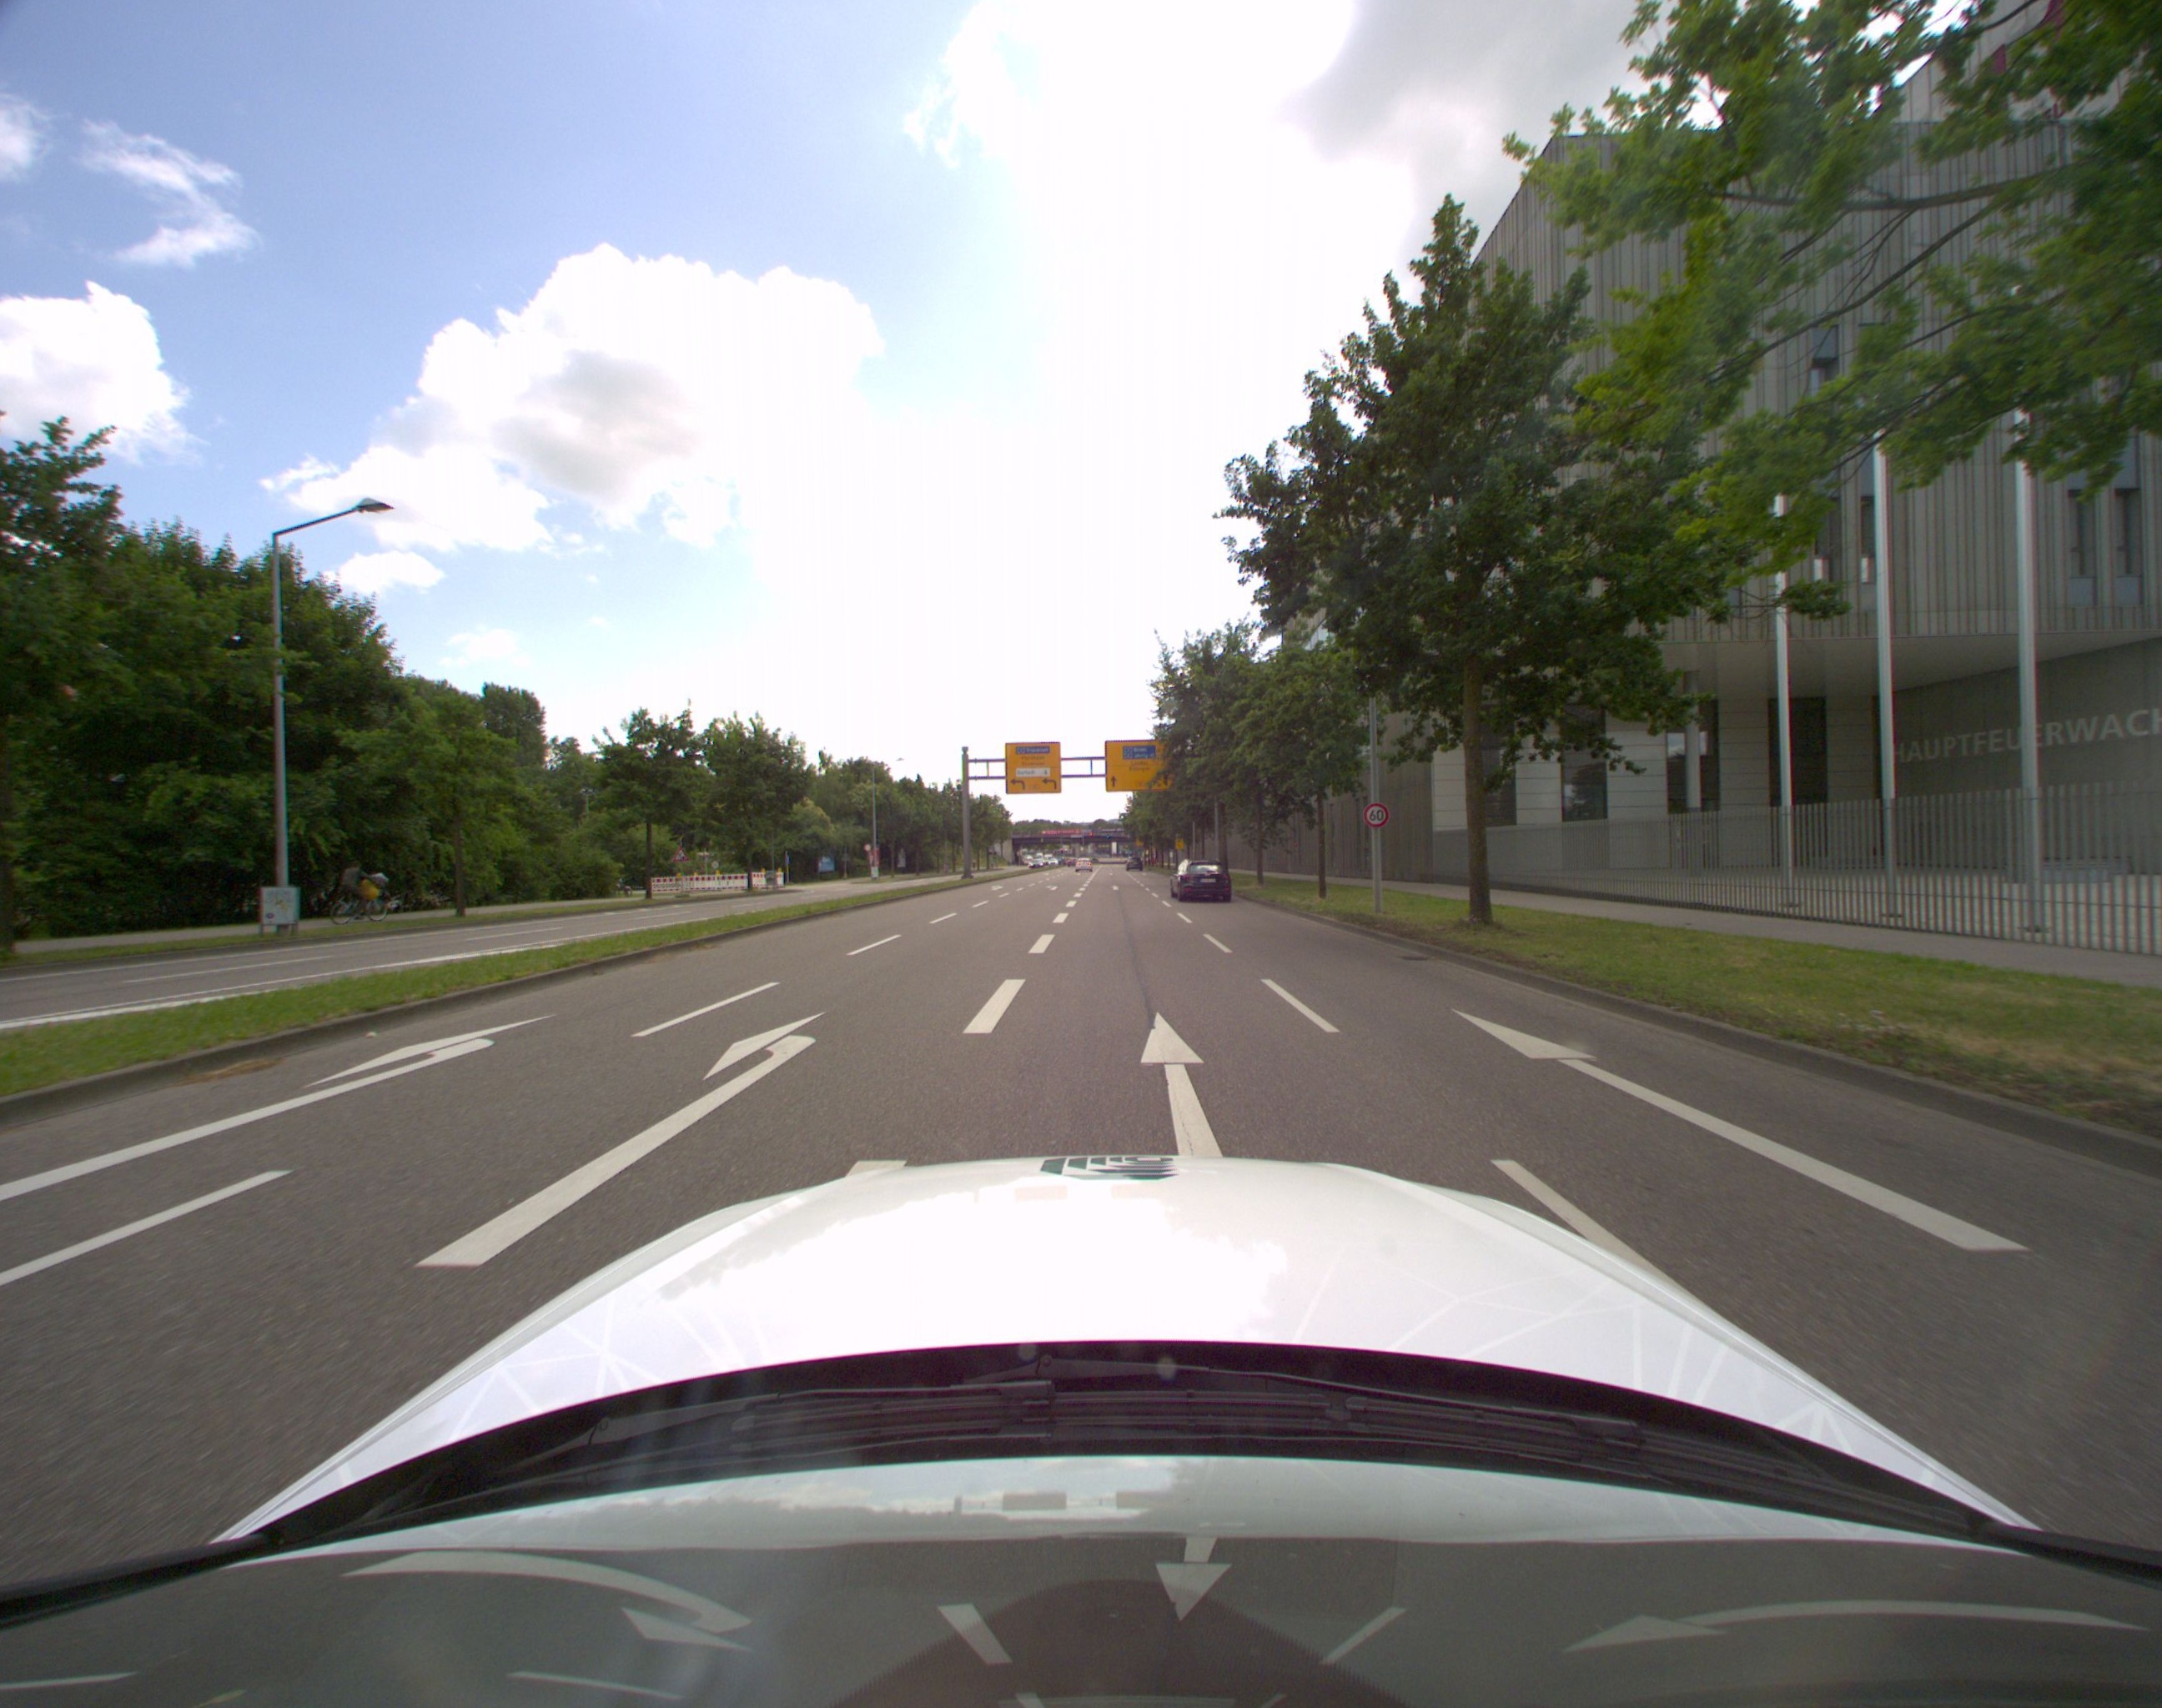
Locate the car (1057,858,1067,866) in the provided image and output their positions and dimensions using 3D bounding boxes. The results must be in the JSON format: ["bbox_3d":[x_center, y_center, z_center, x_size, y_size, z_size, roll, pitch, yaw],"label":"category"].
[{"bbox_3d":[-4.210,1.681,181.049,1.984,1.717,4.004,0,-1,4],"label":"car"}]

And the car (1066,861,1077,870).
[{"bbox_3d":[-1.559,1.835,133.092,1.769,1.463,3.998,0,0,-1],"label":"car"}]

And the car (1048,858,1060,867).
[{"bbox_3d":[-5.426,1.800,163.913,1.986,1.717,4.001,0,-1,2],"label":"car"}]

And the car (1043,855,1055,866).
[{"bbox_3d":[-7.313,1.516,187.590,1.984,2.640,5.242,0,-1,5],"label":"car"}]

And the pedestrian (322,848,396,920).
[{"bbox_3d":[-21.061,0.853,23.785,0.966,2.013,1.250,-2,0,3],"label":"pedestrian"}]

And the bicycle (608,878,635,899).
[{"bbox_3d":[-24.160,1.790,42.811,0.888,1.059,2.337,-1,-1,-38],"label":"bicycle"}]

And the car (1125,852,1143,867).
[{"bbox_3d":[6.195,0.614,95.215,1.985,1.626,4.314,-2,1,4],"label":"car"}]

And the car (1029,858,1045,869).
[{"bbox_3d":[-6.710,1.448,124.537,1.985,1.618,4.003,-2,0,3],"label":"car"}]

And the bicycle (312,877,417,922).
[{"bbox_3d":[-20.941,1.306,23.897,0.804,1.226,2.503,-1,-1,2],"label":"bicycle"}]

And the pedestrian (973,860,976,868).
[{"bbox_3d":[-18.424,1.773,140.803,0.556,1.400,0.563,0,-2,0],"label":"pedestrian"}]

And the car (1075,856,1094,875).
[{"bbox_3d":[0.366,1.246,87.457,1.988,2.014,3.998,0,0,-1],"label":"car"}]

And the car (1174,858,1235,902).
[{"bbox_3d":[4.388,0.892,29.407,1.678,1.463,4.000,0,0,1],"label":"car"}]

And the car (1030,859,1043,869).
[{"bbox_3d":[-8.000,1.763,147.161,1.987,1.783,4.000,0,-1,1],"label":"car"}]

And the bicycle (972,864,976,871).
[{"bbox_3d":[-18.436,2.317,140.823,0.458,1.090,1.474,0,-1,1],"label":"bicycle"}]
